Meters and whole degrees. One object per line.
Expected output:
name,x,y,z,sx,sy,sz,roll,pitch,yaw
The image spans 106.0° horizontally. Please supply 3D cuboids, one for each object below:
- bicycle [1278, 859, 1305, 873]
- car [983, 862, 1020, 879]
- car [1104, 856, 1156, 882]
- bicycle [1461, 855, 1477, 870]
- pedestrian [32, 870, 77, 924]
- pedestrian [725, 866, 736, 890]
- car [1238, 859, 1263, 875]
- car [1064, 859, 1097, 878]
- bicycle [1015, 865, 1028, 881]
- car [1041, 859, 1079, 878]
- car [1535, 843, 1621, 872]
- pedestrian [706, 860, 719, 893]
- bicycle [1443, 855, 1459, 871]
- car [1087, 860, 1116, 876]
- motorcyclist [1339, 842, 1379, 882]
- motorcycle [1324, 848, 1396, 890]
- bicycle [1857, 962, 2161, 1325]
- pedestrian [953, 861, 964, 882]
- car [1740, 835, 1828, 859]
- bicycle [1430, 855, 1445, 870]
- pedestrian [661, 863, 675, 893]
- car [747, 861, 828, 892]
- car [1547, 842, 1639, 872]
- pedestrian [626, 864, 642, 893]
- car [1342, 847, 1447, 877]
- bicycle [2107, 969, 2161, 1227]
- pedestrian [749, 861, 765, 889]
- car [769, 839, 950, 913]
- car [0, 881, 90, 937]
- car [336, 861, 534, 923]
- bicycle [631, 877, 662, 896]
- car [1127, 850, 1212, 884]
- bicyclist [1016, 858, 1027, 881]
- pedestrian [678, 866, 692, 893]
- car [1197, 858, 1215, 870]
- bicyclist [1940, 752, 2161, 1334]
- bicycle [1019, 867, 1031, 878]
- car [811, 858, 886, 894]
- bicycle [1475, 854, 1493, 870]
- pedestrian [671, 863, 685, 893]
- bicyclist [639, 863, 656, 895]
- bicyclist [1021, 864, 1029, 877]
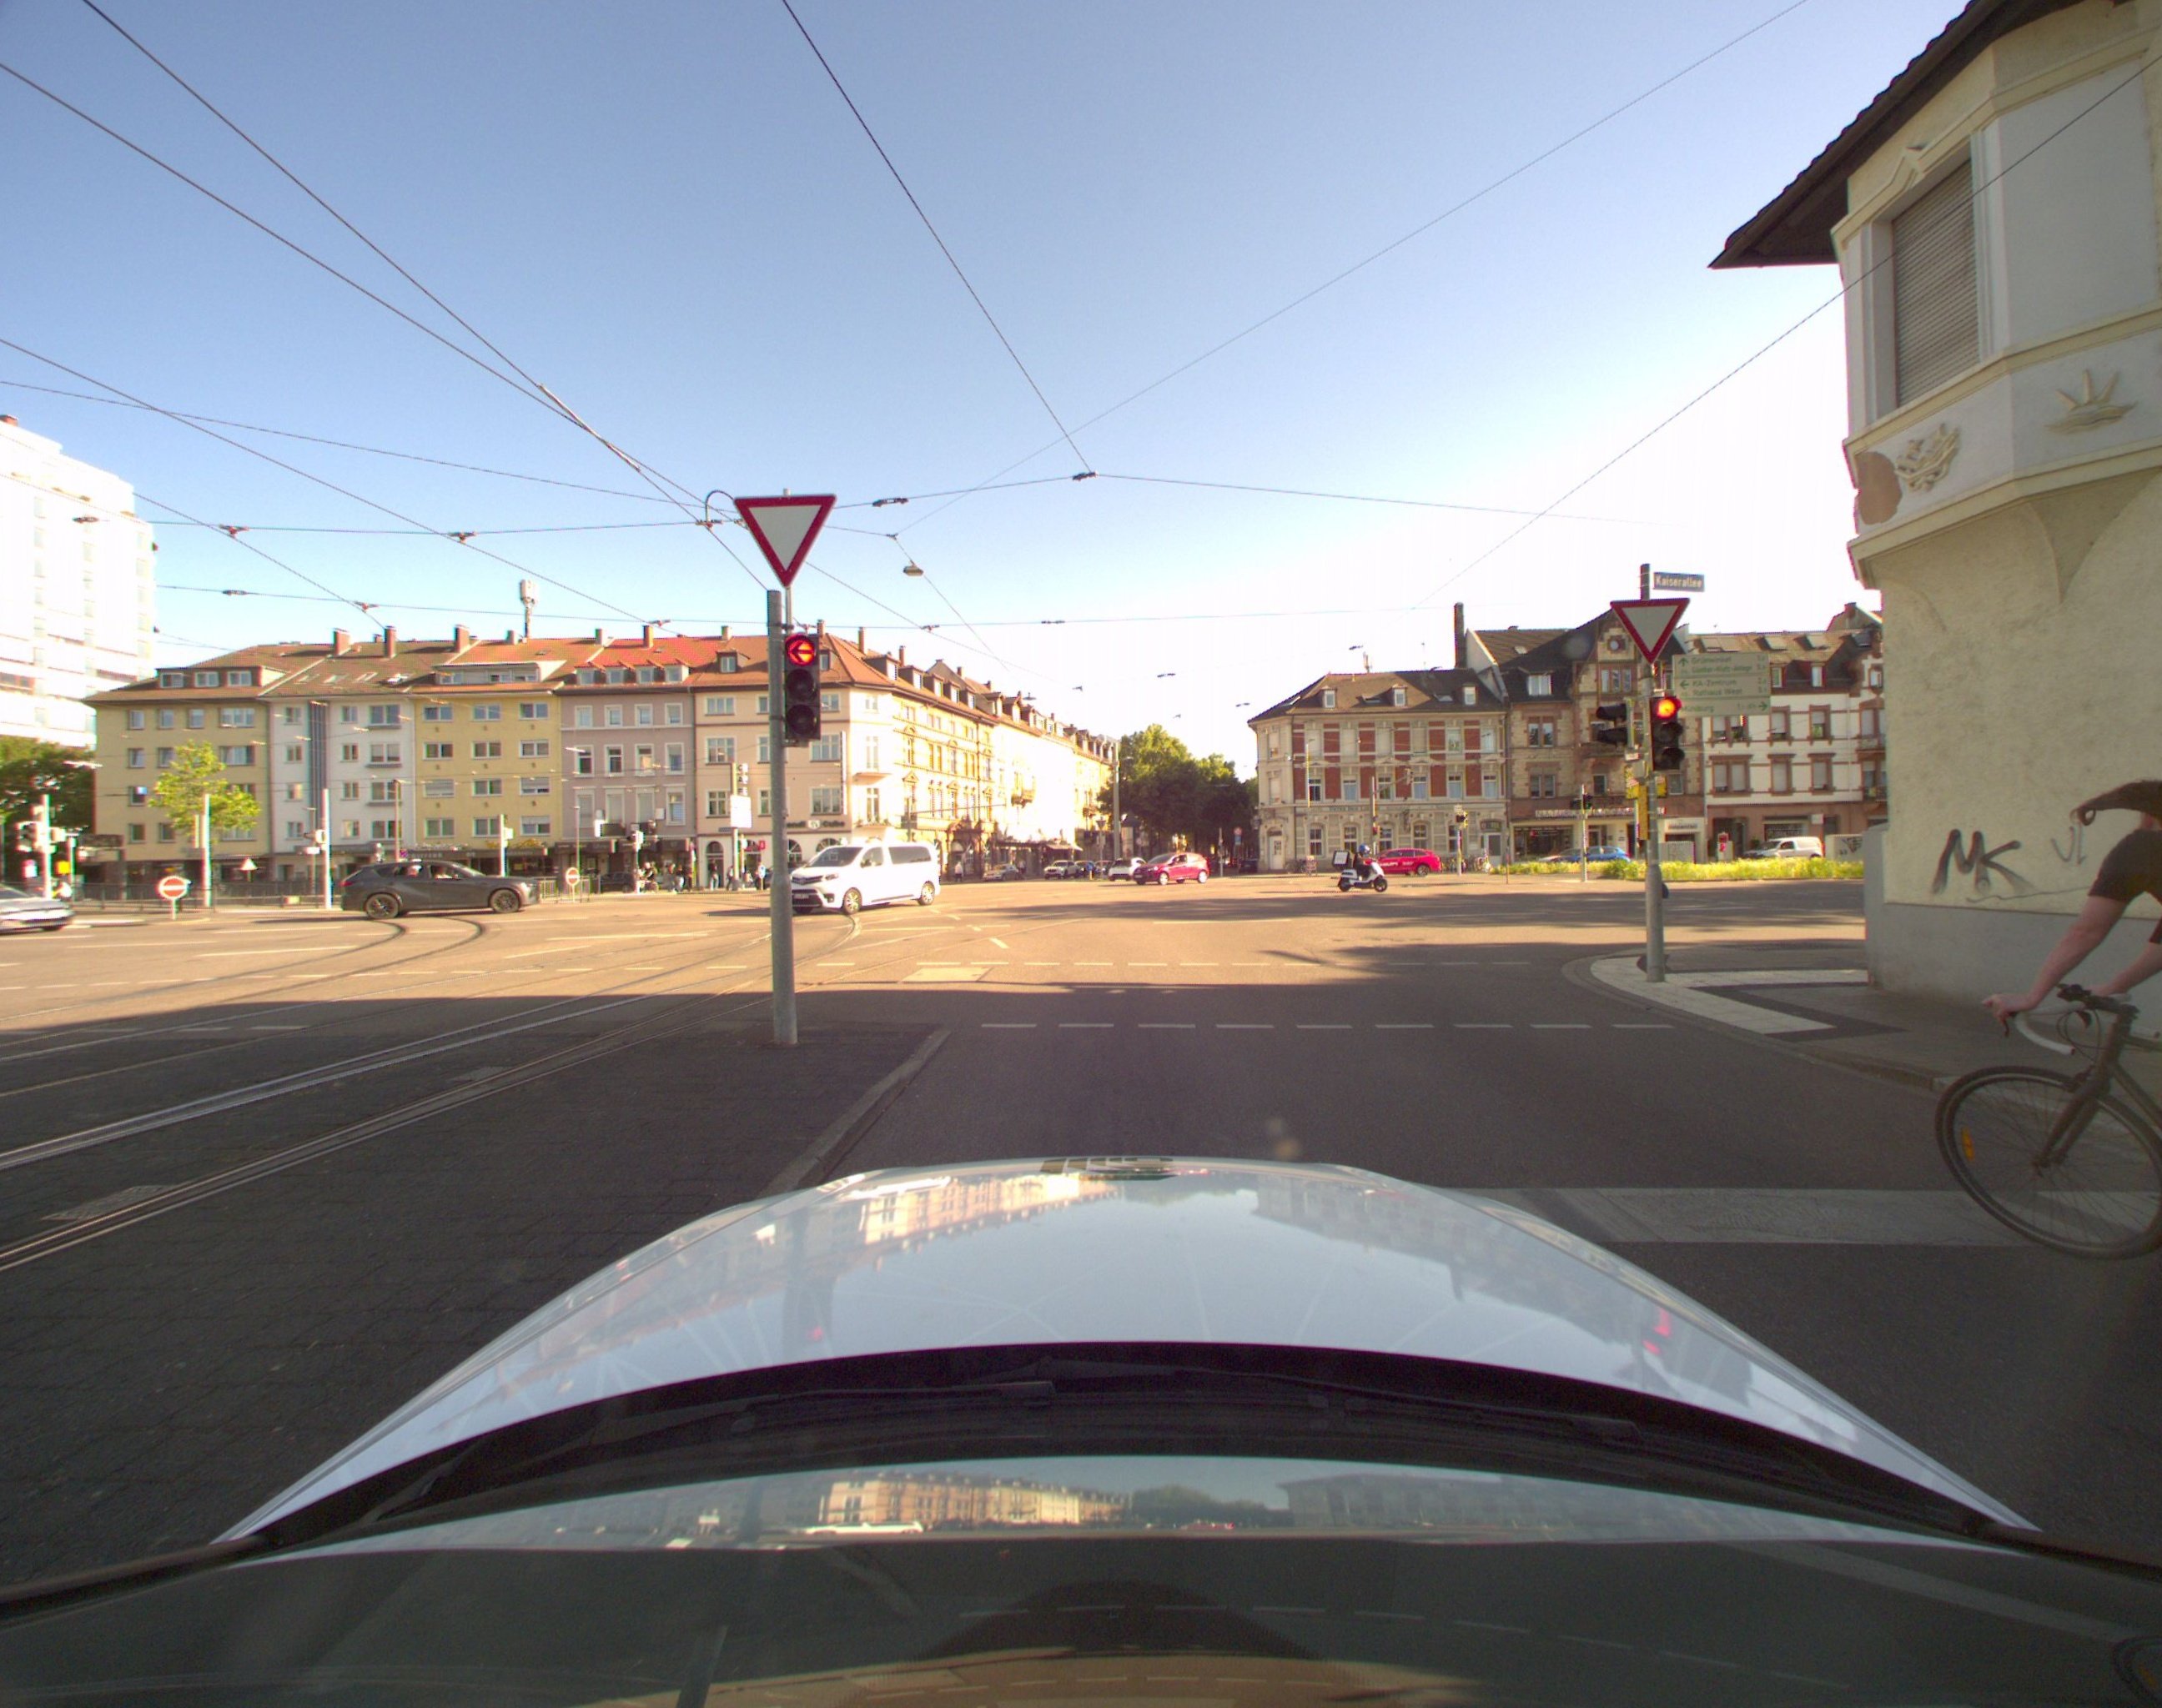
bicycle,14.704,0.831,56.927,1.789,0.963,0.606,-1,-1,16
car,-6.544,1.362,67.331,1.647,1.374,3.909,-1,-1,17
car,3.197,0.911,51.908,1.875,1.454,4.032,-2,1,26
bicycle,25.193,0.545,52.904,0.758,1.007,2.231,-1,-1,20
pedestrian,-31.733,1.316,25.187,0.770,1.609,0.605,0,-1,-44
pedestrian,-20.769,1.406,48.287,0.401,1.419,0.625,0,-1,-4
car,17.096,1.258,82.255,1.741,1.556,4.021,-1,-1,22
car,0.005,1.291,73.761,1.809,1.685,3.893,-1,-1,18
bicycle,-4.770,1.538,65.370,0.561,1.254,1.564,-1,-1,17
car,-1.685,1.180,67.486,1.788,1.585,4.179,-1,-1,19
car,29.361,0.200,48.209,3.970,1.622,1.806,0,-1,3
pedestrian,-20.798,1.257,45.942,0.527,1.823,0.674,0,-1,-9
bicycle,24.042,0.567,52.975,0.758,0.983,2.221,-1,-1,20
car,2.035,1.352,79.728,1.788,1.575,3.908,-1,-1,17
motorcyclist,9.253,0.263,27.099,1.005,1.300,0.794,-1,-1,44
motorcycle,9.214,0.486,26.958,2.115,1.333,0.801,-1,-1,45
bicycle,3.580,0.960,2.633,0.480,0.991,1.783,0,-1,2
pedestrian,-9.814,1.407,65.300,0.562,1.642,0.797,-1,-1,25
car,45.211,-0.436,52.438,3.961,1.438,1.874,0,-1,5
bicycle,23.255,0.573,53.099,0.758,0.968,2.221,-1,-1,20
pedestrian,-23.015,1.329,45.385,0.520,1.648,0.498,0,-1,1
car,-15.596,1.185,43.235,4.145,1.575,1.843,-1,0,33
car,28.324,0.182,45.123,3.970,1.622,1.806,0,-1,3
pedestrian,-25.698,1.404,46.810,0.582,1.648,0.616,0,-1,1
car,16.321,0.397,42.535,4.841,1.469,1.804,-1,1,1
bicycle,4.451,0.959,2.453,0.501,0.983,1.783,0,-1,2
pedestrian,-19.658,1.280,49.424,0.580,1.648,0.840,0,-1,1
car,-6.079,0.571,23.140,1.975,1.854,5.246,-1,-1,26
car,-29.852,1.503,21.911,4.200,1.389,1.735,-2,0,0
car,-19.335,1.088,24.690,4.470,1.602,1.855,-2,0,-32
bicycle,-24.239,1.797,45.494,0.618,1.030,1.758,0,-1,7
car,4.123,0.570,37.671,3.899,1.426,1.578,-1,0,-36
bicyclist,-4.776,1.263,65.390,0.561,1.804,0.918,-1,-1,17
pedestrian,-22.005,1.402,45.227,0.489,1.492,0.556,0,-1,1
car,17.844,1.354,116.278,1.978,1.684,4.018,-1,-1,17
bicyclist,3.577,0.575,2.637,0.587,1.767,0.936,0,-1,2
bicycle,-4.638,1.555,67.620,0.469,0.922,1.458,-1,-1,17
car,-10.427,0.942,36.804,1.774,1.503,3.928,-2,0,8
bicycle,26.042,0.537,52.676,0.785,1.016,2.221,-1,-1,20
pedestrian,-22.464,1.330,45.396,0.520,1.648,0.498,0,-1,1
bicyclist,-24.240,1.408,45.523,0.618,1.790,0.616,0,-1,7
bicyclist,-4.640,1.389,67.632,0.469,1.040,0.540,-1,-1,17
